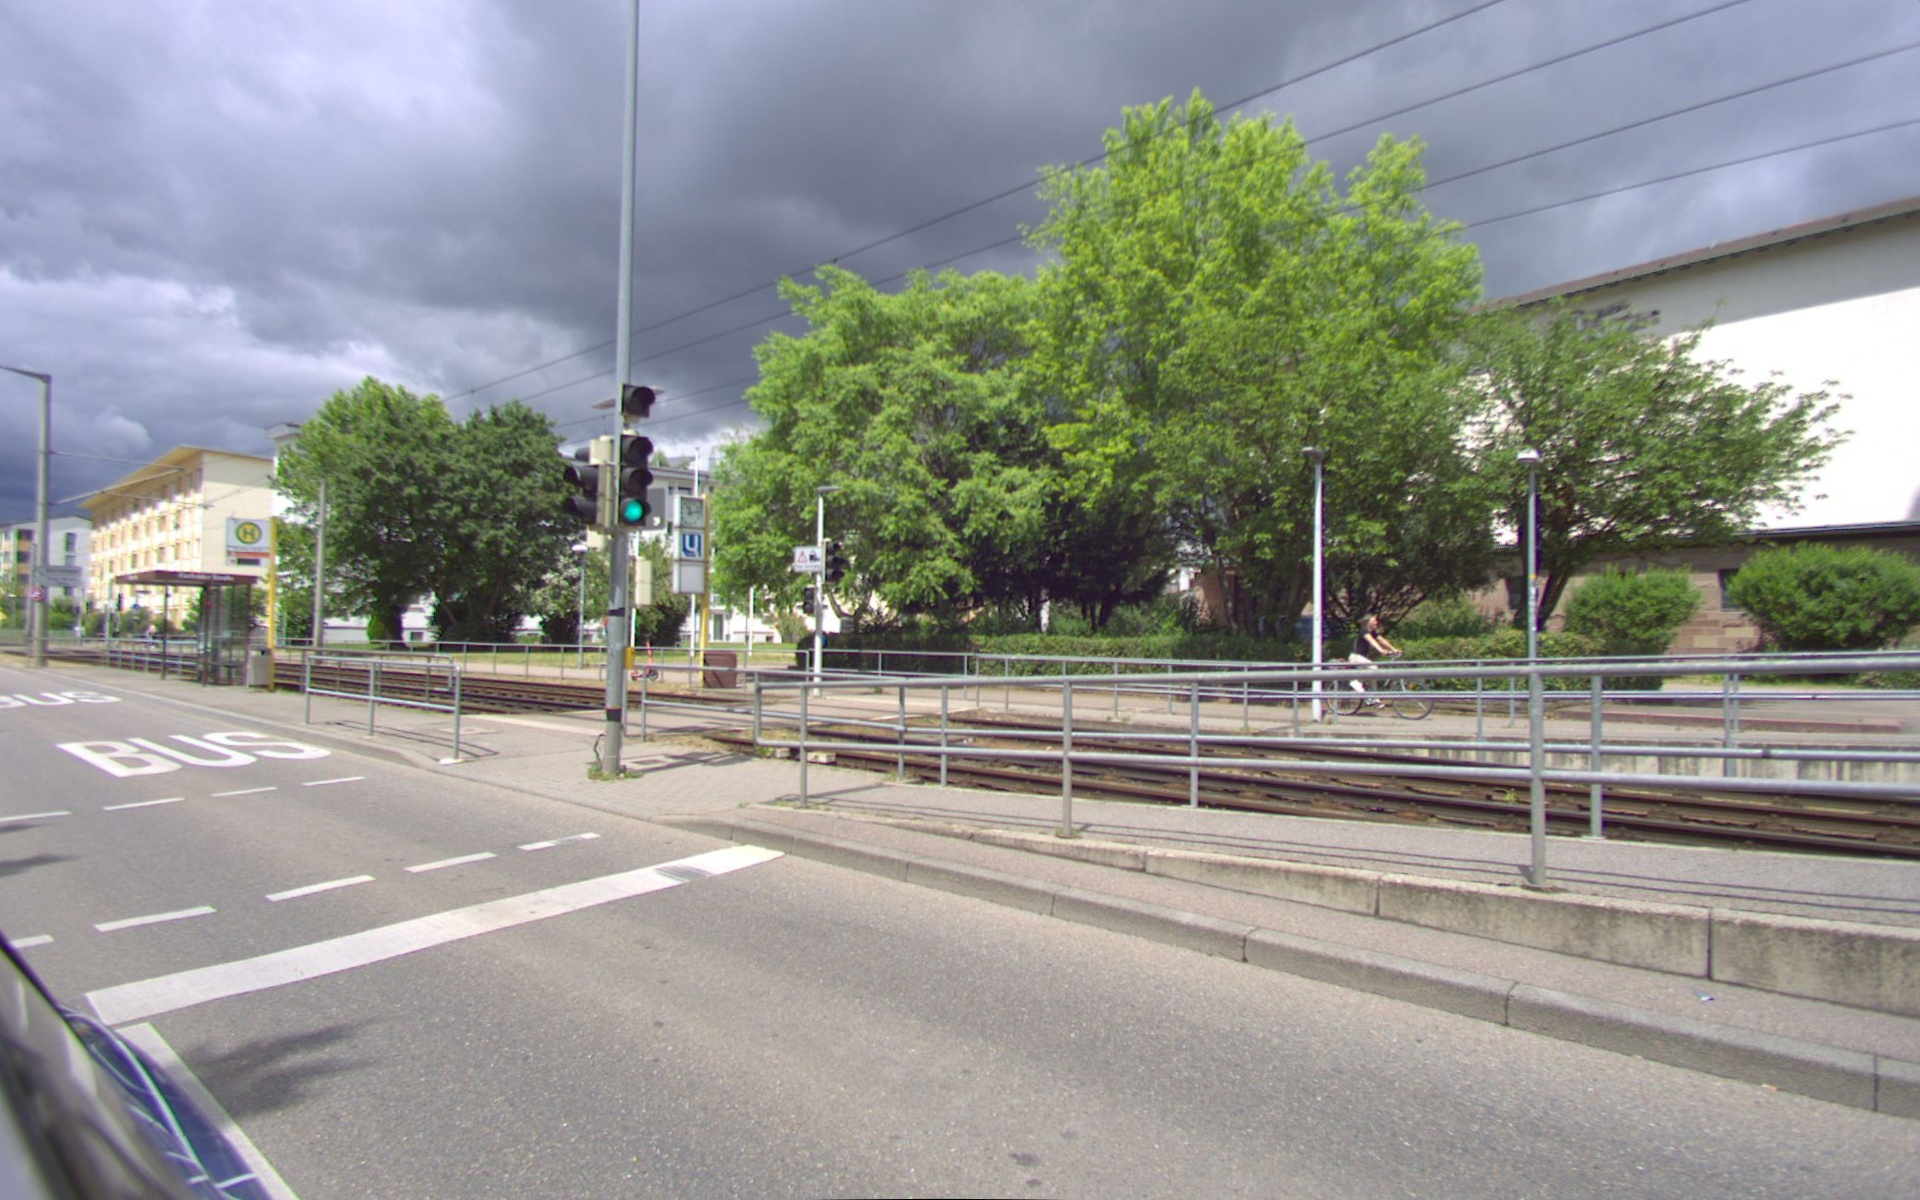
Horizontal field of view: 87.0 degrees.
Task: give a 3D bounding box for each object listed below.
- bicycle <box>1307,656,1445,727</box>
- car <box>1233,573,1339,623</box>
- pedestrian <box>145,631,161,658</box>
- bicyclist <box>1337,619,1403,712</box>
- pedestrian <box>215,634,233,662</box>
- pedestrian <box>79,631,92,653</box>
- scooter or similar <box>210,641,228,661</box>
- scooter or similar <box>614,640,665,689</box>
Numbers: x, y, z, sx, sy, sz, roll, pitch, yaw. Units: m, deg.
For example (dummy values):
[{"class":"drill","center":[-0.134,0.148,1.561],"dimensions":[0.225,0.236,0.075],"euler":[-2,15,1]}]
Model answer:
[{"class":"bicycle","center":[6.620,1.434,16.178],"dimensions":[1.927,1.001,0.631],"euler":[-1,-1,41]},{"class":"car","center":[14.179,-0.025,44.238],"dimensions":[1.967,2.029,4.009],"euler":[2,-3,-36]},{"class":"pedestrian","center":[-51.778,2.833,64.939],"dimensions":[0.679,1.705,0.638],"euler":[-1,-2,41]},{"class":"bicyclist","center":[6.569,1.031,16.215],"dimensions":[0.790,1.440,0.626],"euler":[-1,-1,41]},{"class":"pedestrian","center":[-40.474,2.635,55.651],"dimensions":[0.873,1.552,0.606],"euler":[-1,-2,39]},{"class":"pedestrian","center":[-65.037,3.099,75.275],"dimensions":[0.773,1.620,0.598],"euler":[-1,-1,40]},{"class":"scooter or similar","center":[-41.138,2.829,56.198],"dimensions":[0.820,1.123,0.598],"euler":[-1,-2,39]},{"class":"scooter or similar","center":[-8.495,1.692,26.794],"dimensions":[1.400,1.246,0.642],"euler":[-3,-2,42]}]
